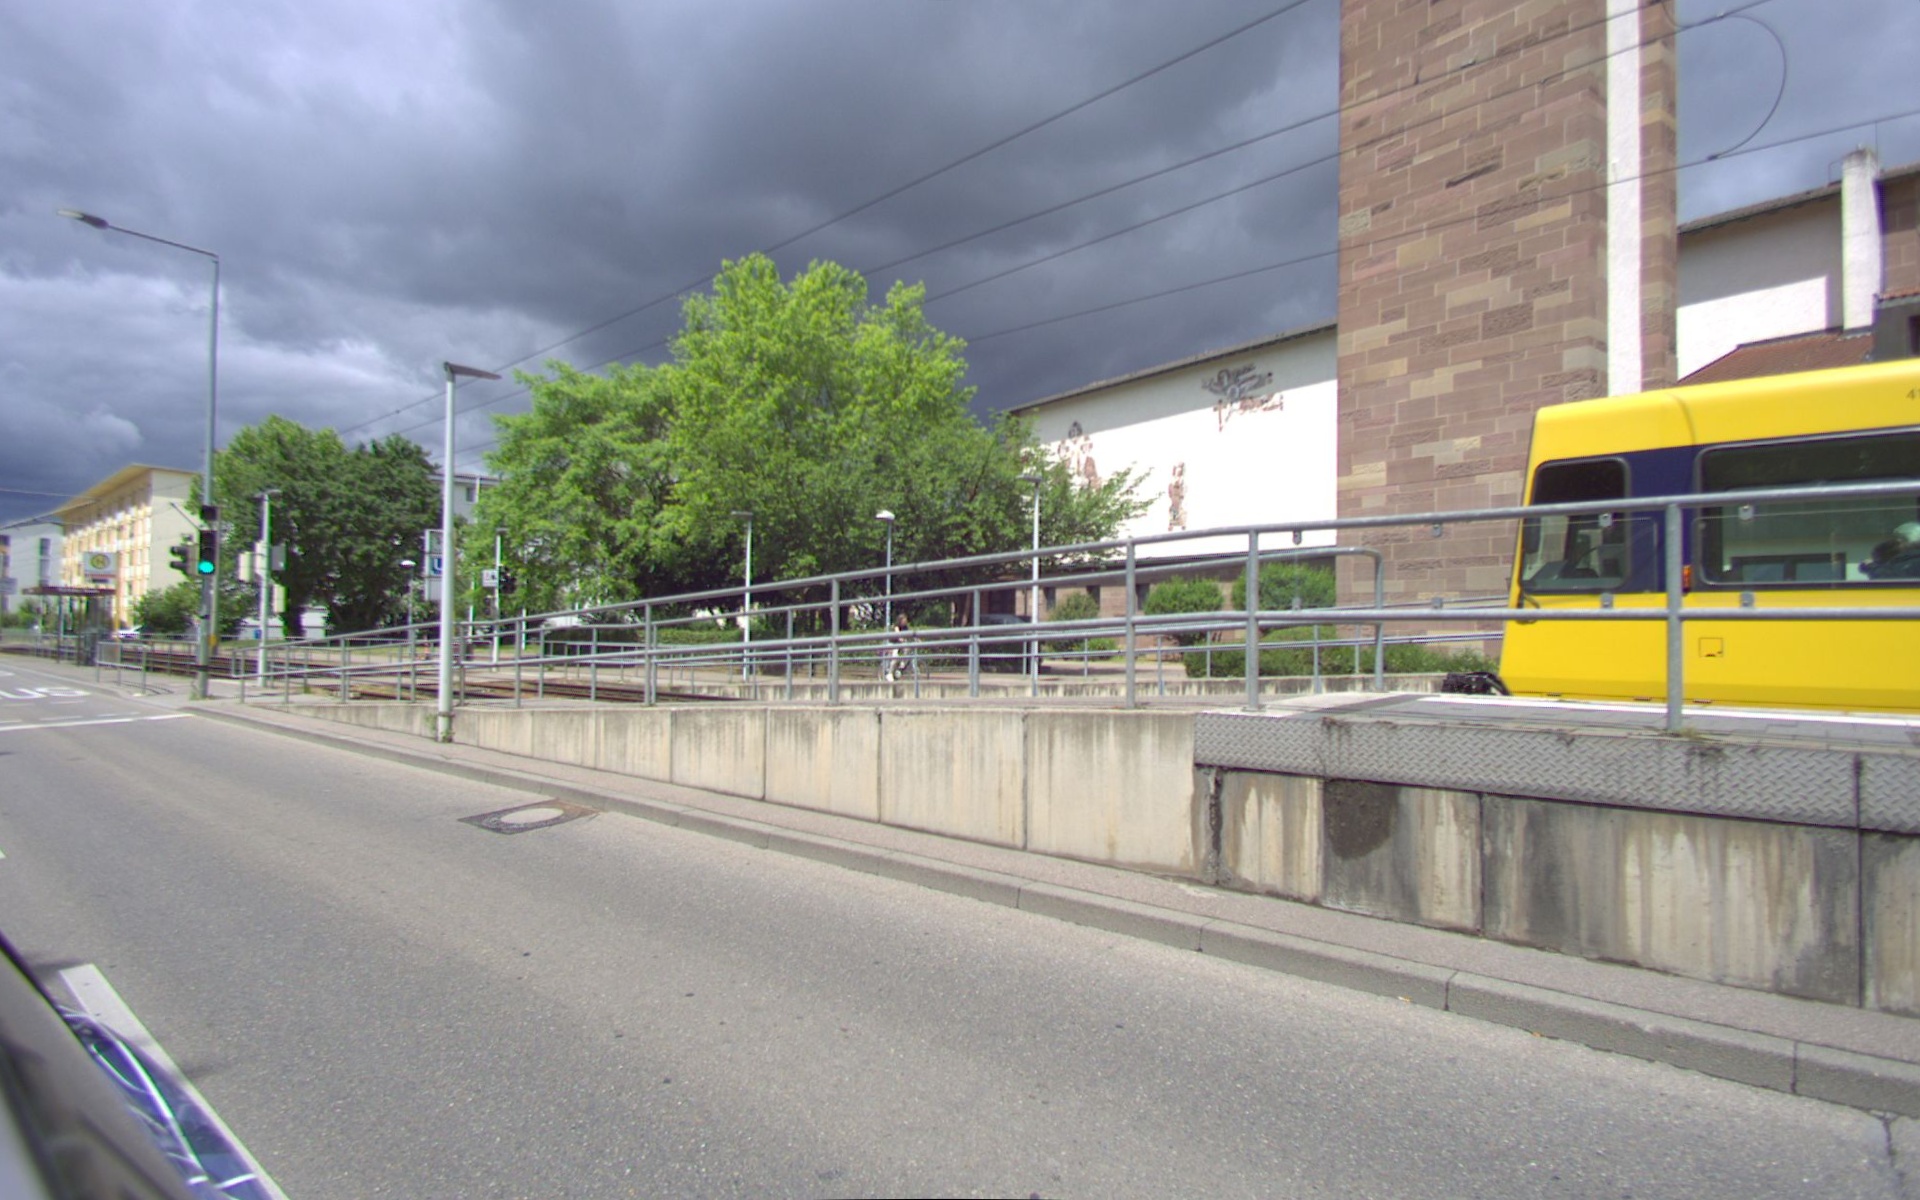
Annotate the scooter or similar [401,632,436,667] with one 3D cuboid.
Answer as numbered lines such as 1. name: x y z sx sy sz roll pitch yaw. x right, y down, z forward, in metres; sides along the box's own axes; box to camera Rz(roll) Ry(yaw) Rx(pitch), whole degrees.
1. scooter or similar: -19.389 1.767 36.221 1.400 1.246 0.642 -3 -2 42

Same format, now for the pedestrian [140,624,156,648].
1. pedestrian: -52.549 2.344 65.496 0.873 1.552 0.606 -1 -2 39

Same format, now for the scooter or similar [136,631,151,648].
1. scooter or similar: -53.261 2.566 66.050 0.820 1.123 0.598 -1 -2 39

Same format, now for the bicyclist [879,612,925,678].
1. bicyclist: -1.288 0.993 22.548 0.790 1.440 0.626 -1 -1 41

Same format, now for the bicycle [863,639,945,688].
1. bicycle: -1.264 1.390 22.493 1.927 1.001 0.631 -1 -1 41

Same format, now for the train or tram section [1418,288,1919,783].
1. train or tram section: 12.338 -0.560 4.322 18.815 3.491 3.076 -1 -1 41
